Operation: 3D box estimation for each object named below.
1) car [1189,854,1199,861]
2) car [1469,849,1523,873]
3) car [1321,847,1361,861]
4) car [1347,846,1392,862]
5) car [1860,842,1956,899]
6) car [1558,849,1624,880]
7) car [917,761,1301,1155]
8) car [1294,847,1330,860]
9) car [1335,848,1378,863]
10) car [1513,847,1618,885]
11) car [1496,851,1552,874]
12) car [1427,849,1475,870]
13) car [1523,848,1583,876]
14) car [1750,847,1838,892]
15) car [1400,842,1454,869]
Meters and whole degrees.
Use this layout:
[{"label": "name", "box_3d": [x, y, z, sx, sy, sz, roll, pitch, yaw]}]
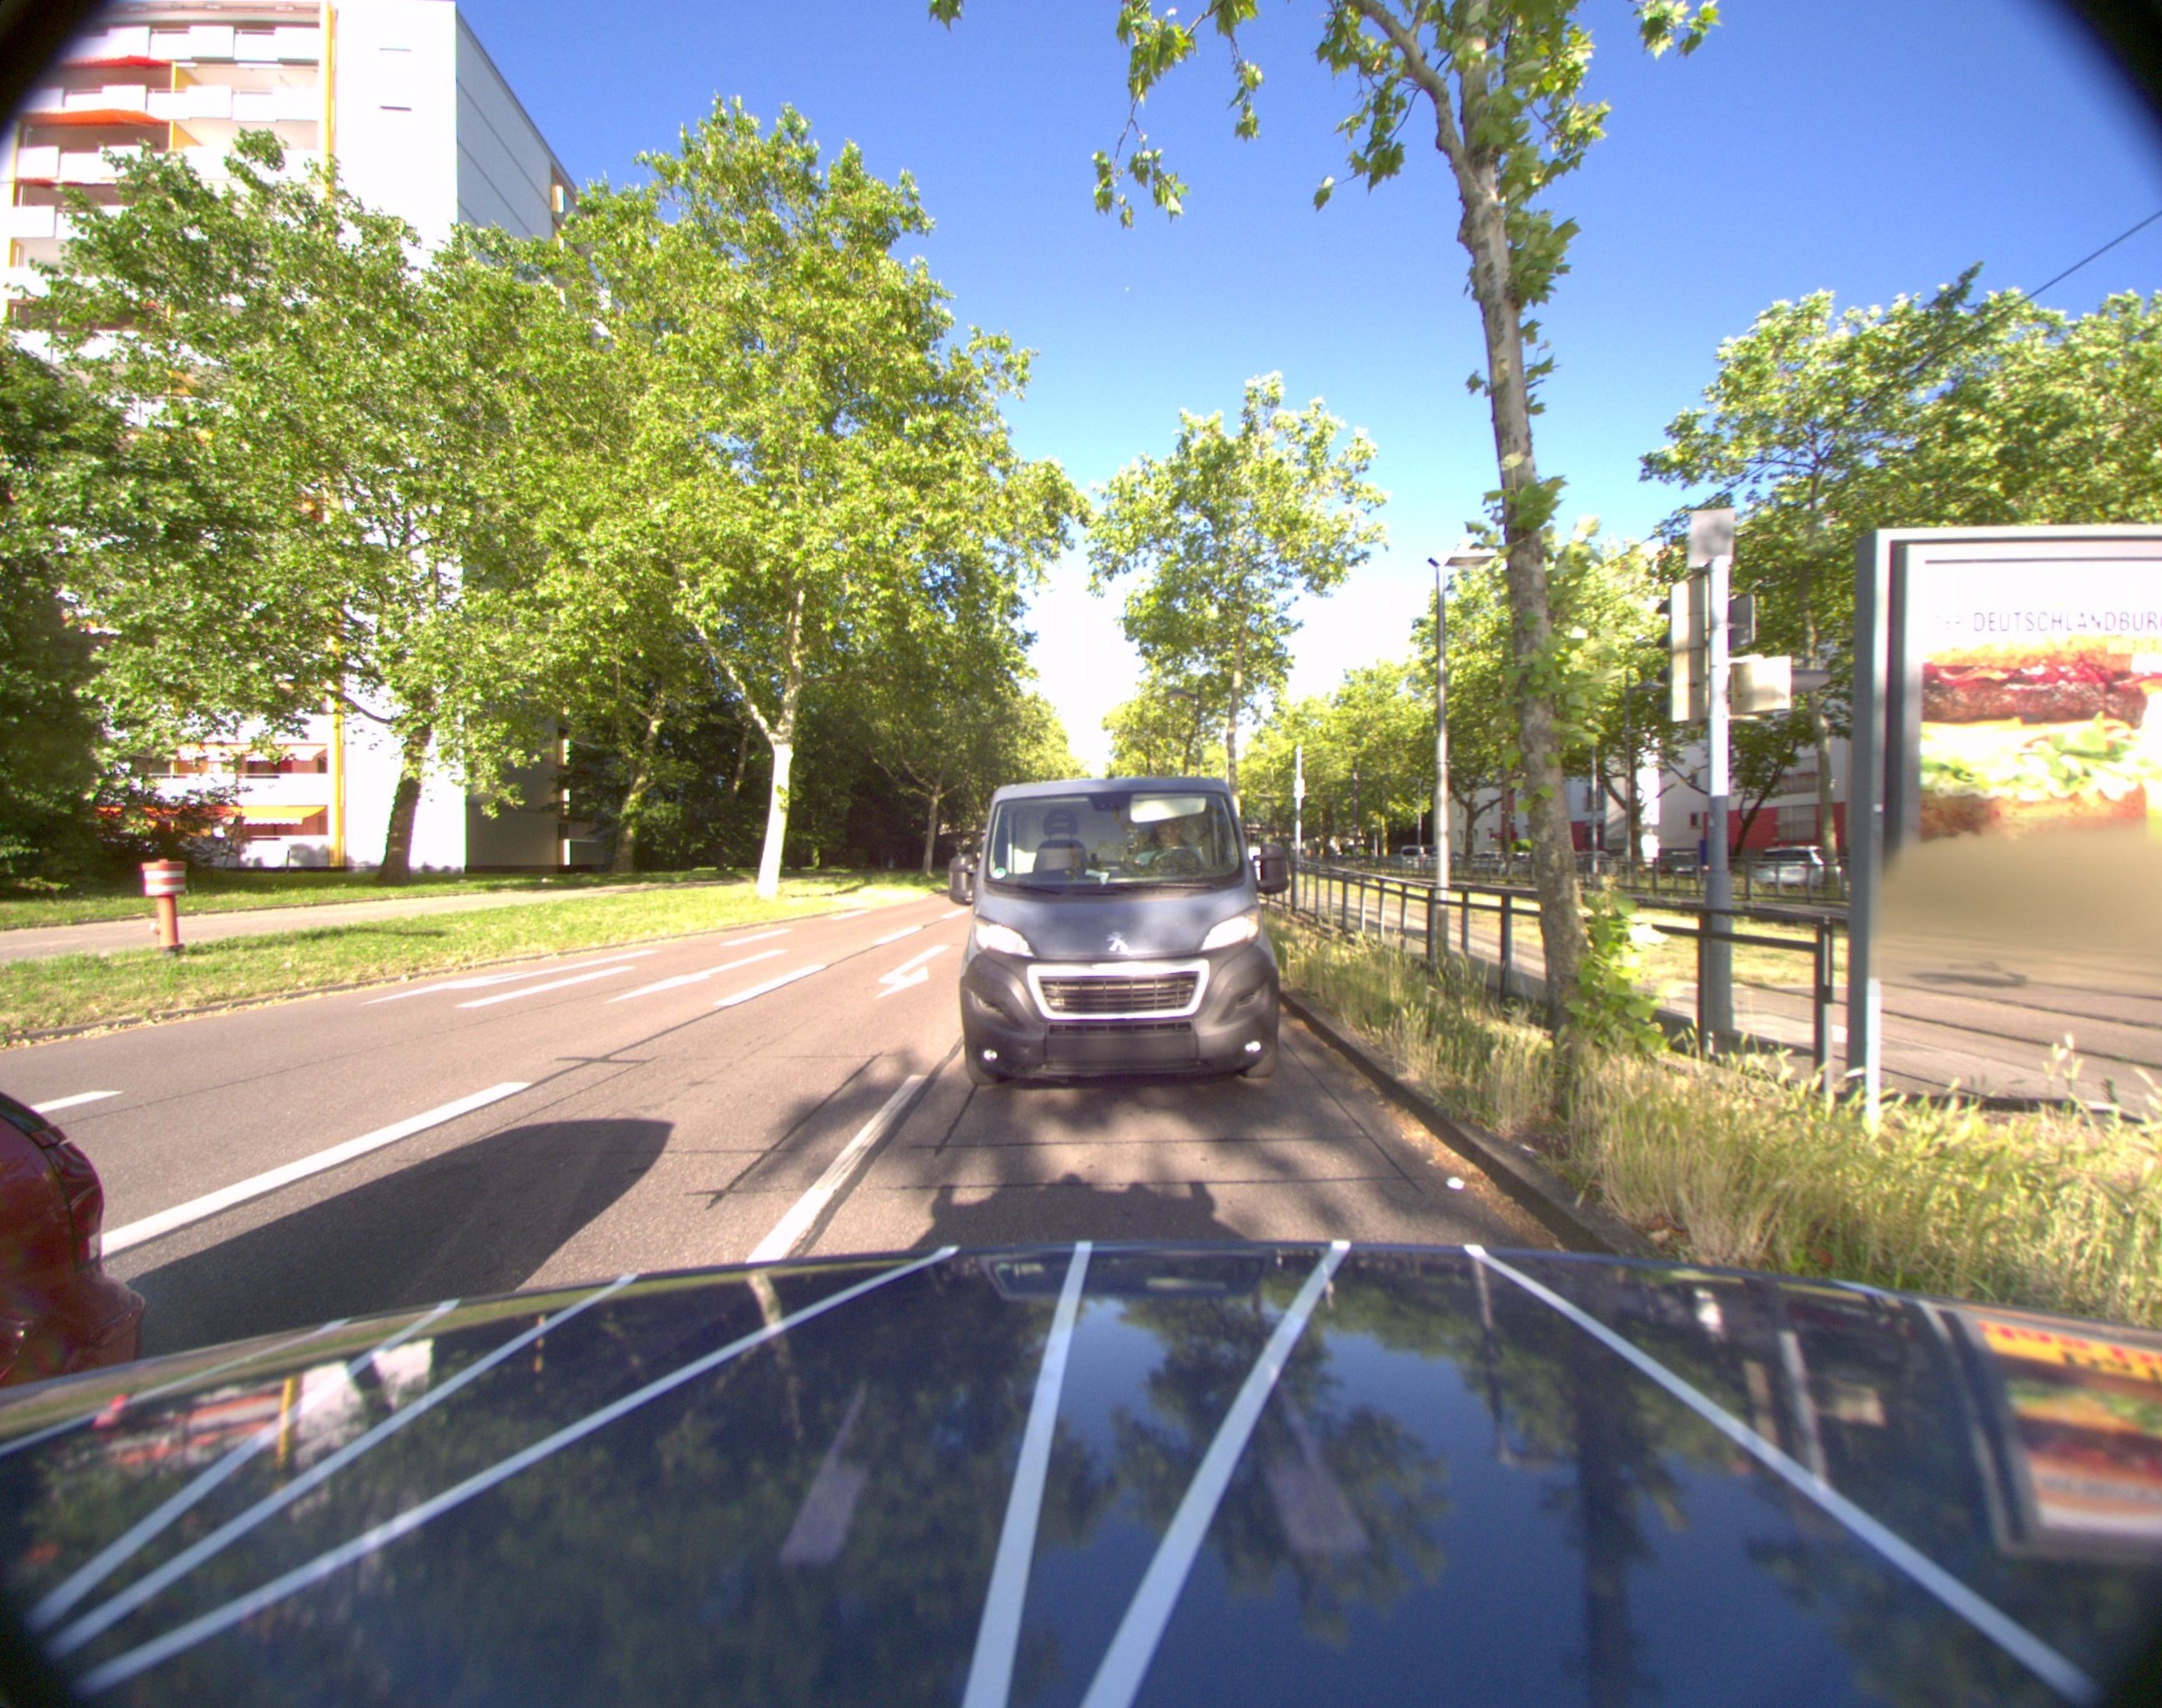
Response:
[{"label": "car", "box_3d": [24.214, 0.708, 162.755, 1.672, 1.351, 3.295, -1, 0, 1]}, {"label": "car", "box_3d": [25.952, 0.413, 47.476, 3.689, 1.440, 1.645, -1, 1, -39]}, {"label": "car", "box_3d": [27.237, 0.022, 79.556, 4.376, 1.367, 1.919, -1, 1, -39]}, {"label": "car", "box_3d": [26.723, -0.010, 70.248, 4.376, 1.367, 1.919, -1, 1, -39]}, {"label": "car", "box_3d": [25.013, 0.460, 22.942, 3.689, 1.558, 1.683, -1, 1, -38]}, {"label": "car", "box_3d": [25.325, 0.499, 37.671, 3.689, 1.384, 1.645, -1, 1, -38]}, {"label": "car", "box_3d": [0.190, 0.556, 6.703, 2.040, 2.102, 5.113, -2, 0, 1]}, {"label": "car", "box_3d": [27.195, -0.062, 89.410, 4.376, 1.367, 1.919, -1, 1, -39]}, {"label": "car", "box_3d": [26.583, 0.097, 73.259, 4.376, 1.367, 1.919, -1, 1, -39]}, {"label": "car", "box_3d": [19.498, 0.445, 30.783, 1.825, 1.412, 3.757, -1, 0, 0]}, {"label": "car", "box_3d": [26.195, 0.480, 44.941, 3.689, 1.234, 1.645, -1, 1, -39]}, {"label": "car", "box_3d": [26.240, 0.346, 53.880, 3.689, 1.388, 1.645, -1, 1, -39]}, {"label": "car", "box_3d": [25.806, 0.428, 41.499, 3.689, 1.440, 1.645, -1, 1, -39]}, {"label": "car", "box_3d": [25.051, 0.493, 26.667, 3.689, 1.425, 1.683, -1, 1, -38]}, {"label": "car", "box_3d": [25.955, 0.083, 56.973, 4.376, 1.873, 1.919, -1, 1, -39]}]
